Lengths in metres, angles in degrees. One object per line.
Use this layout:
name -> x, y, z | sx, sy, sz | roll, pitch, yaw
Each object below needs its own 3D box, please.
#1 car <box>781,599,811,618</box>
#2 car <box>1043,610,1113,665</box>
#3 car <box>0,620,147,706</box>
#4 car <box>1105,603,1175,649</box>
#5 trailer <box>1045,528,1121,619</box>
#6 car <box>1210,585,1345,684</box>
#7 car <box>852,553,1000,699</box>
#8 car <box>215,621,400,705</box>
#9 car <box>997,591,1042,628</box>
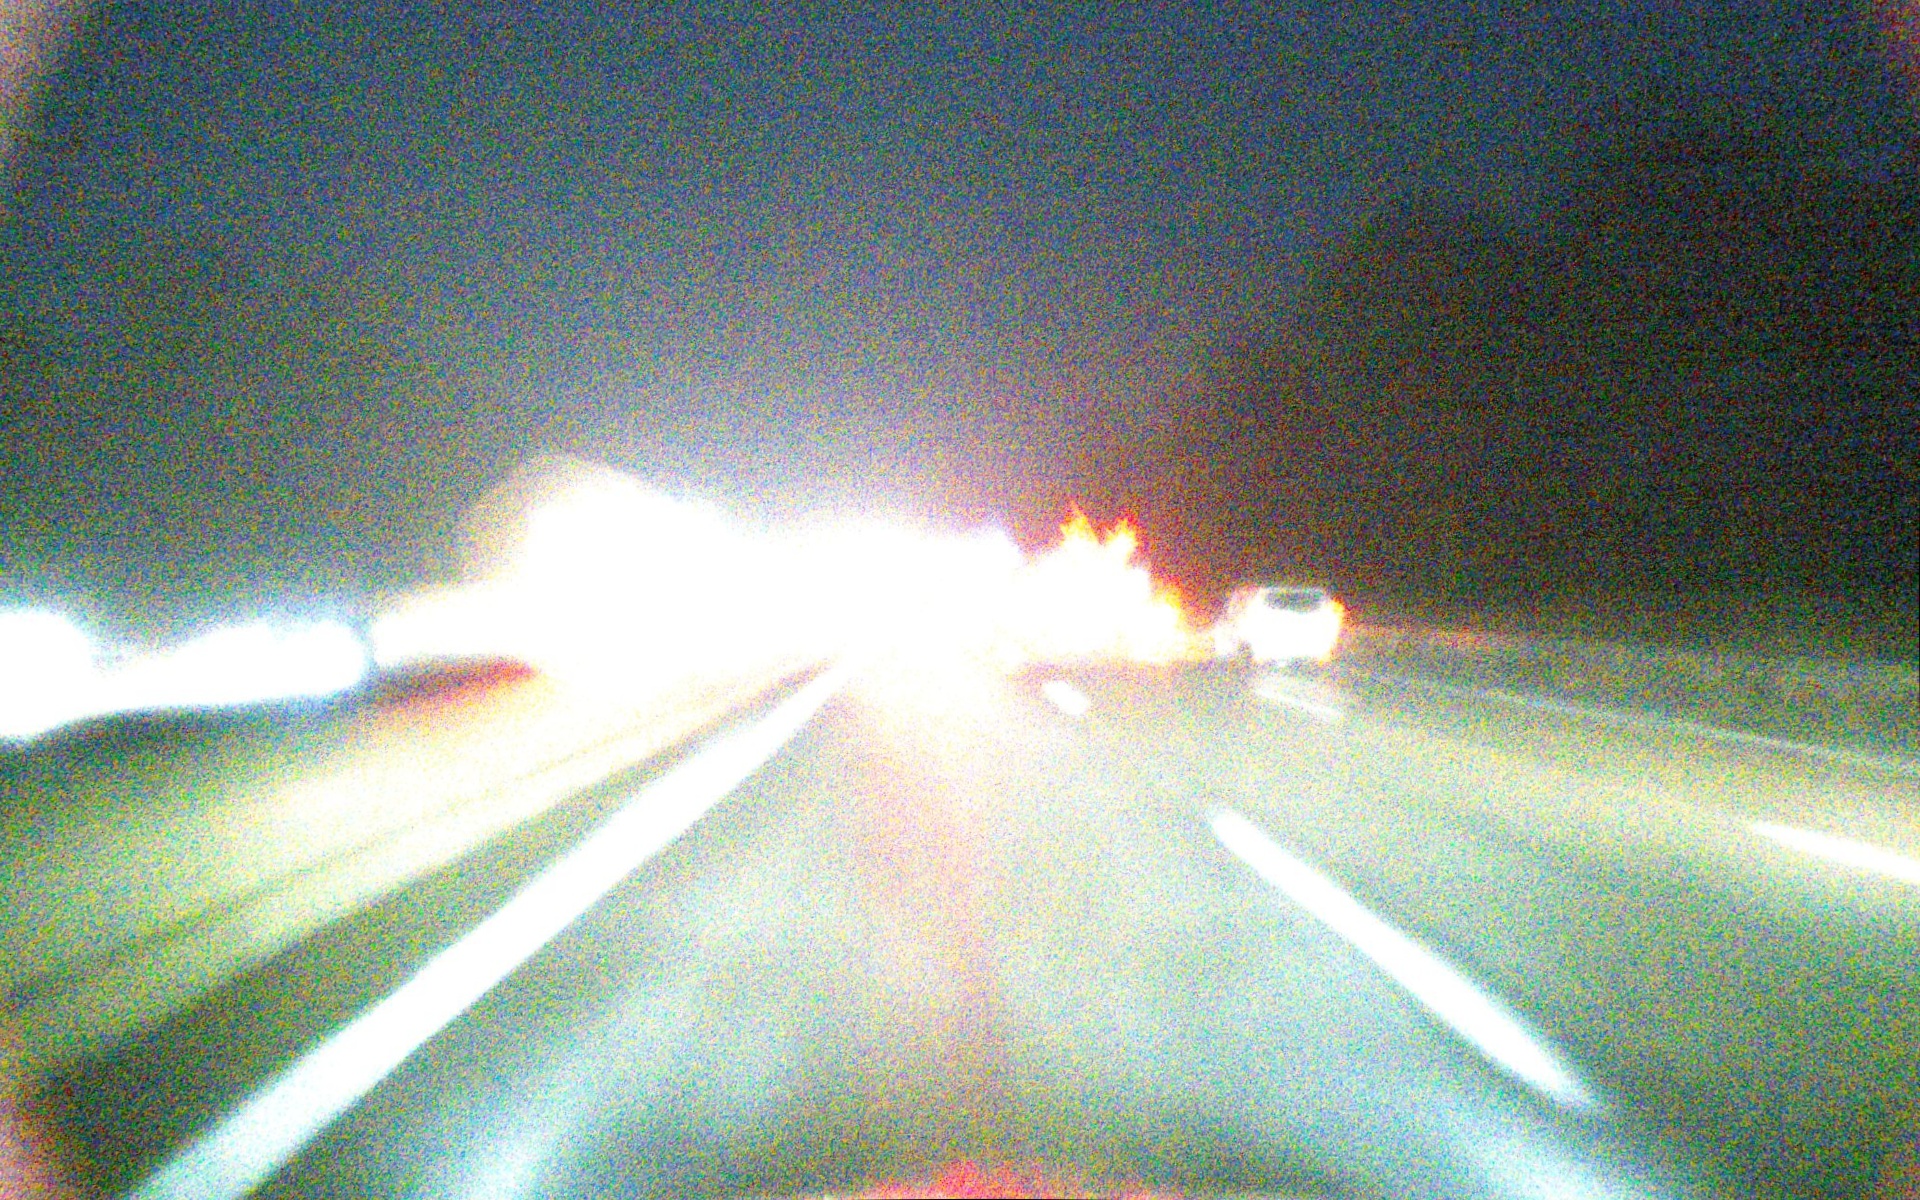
car -> -12.940, 0.647, 130.792 | 1.953, 1.445, 3.999 | -1, 0, -1
car -> 3.278, 1.030, 46.515 | 1.580, 1.437, 3.790 | 1, 0, -2
car -> -23.481, 1.584, 43.114 | 1.953, 1.982, 5.386 | -2, 0, -1
car -> 6.458, 0.898, 59.816 | 1.856, 1.512, 4.960 | 1, 1, -2
trailer -> 6.142, -1.248, 84.395 | 2.746, 4.286, 12.094 | 1, 0, -1
car -> 7.083, 0.694, 37.449 | 2.004, 2.008, 5.407 | -2, 1, 0
car -> -0.728, 0.448, 33.316 | 2.655, 2.578, 5.828 | -2, 1, -2
car -> -13.088, 1.214, 33.518 | 1.953, 1.440, 4.589 | -2, 0, -1
car -> 2.676, 0.401, 75.166 | 1.846, 1.616, 3.999 | 1, 0, -1
